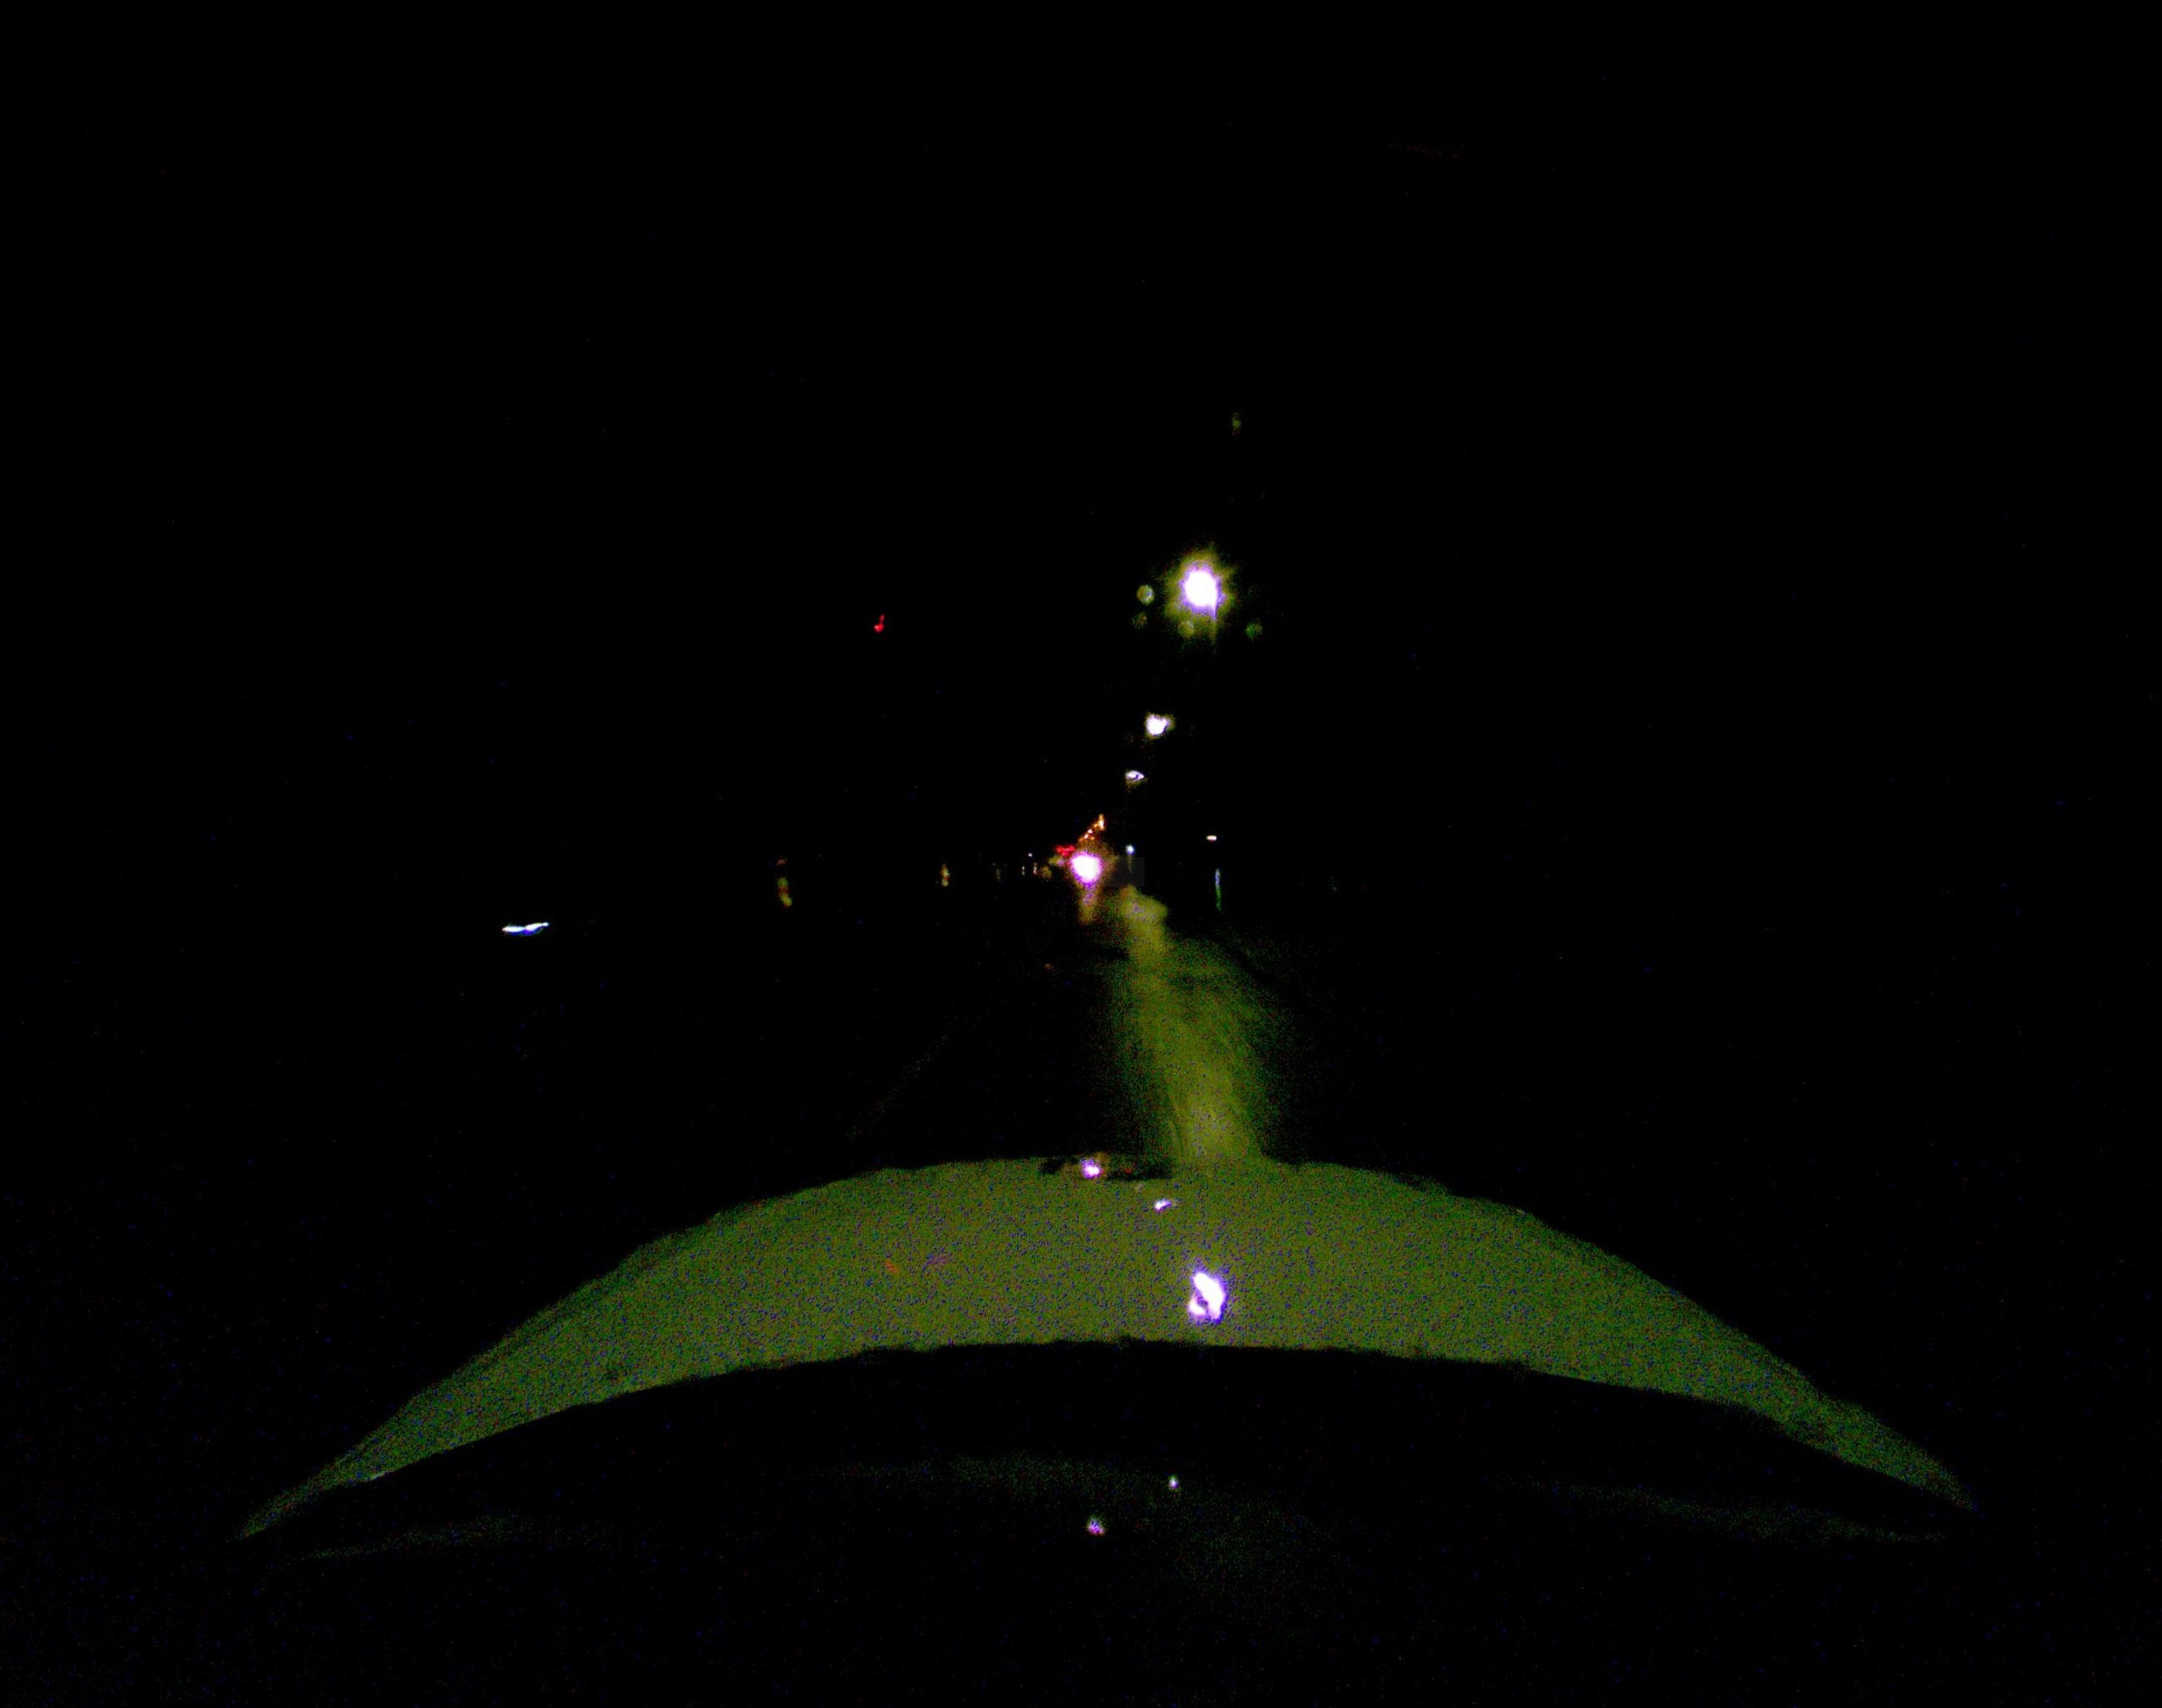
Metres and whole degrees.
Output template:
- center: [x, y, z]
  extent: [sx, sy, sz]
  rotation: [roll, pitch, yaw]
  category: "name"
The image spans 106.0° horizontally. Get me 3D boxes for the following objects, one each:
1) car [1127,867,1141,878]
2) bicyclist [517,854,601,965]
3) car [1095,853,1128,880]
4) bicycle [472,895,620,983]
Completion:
- center: [8.150, 2.825, 125.370]
  extent: [1.708, 1.489, 4.434]
  rotation: [-2, -1, -1]
  category: "car"
- center: [-7.985, 0.827, 12.508]
  extent: [0.634, 1.594, 0.961]
  rotation: [0, 2, 1]
  category: "bicyclist"
- center: [1.917, 0.784, 52.473]
  extent: [1.987, 1.684, 3.999]
  rotation: [0, 0, 0]
  category: "car"
- center: [-7.995, 1.218, 12.326]
  extent: [0.627, 1.161, 2.314]
  rotation: [0, -2, 1]
  category: "bicycle"
